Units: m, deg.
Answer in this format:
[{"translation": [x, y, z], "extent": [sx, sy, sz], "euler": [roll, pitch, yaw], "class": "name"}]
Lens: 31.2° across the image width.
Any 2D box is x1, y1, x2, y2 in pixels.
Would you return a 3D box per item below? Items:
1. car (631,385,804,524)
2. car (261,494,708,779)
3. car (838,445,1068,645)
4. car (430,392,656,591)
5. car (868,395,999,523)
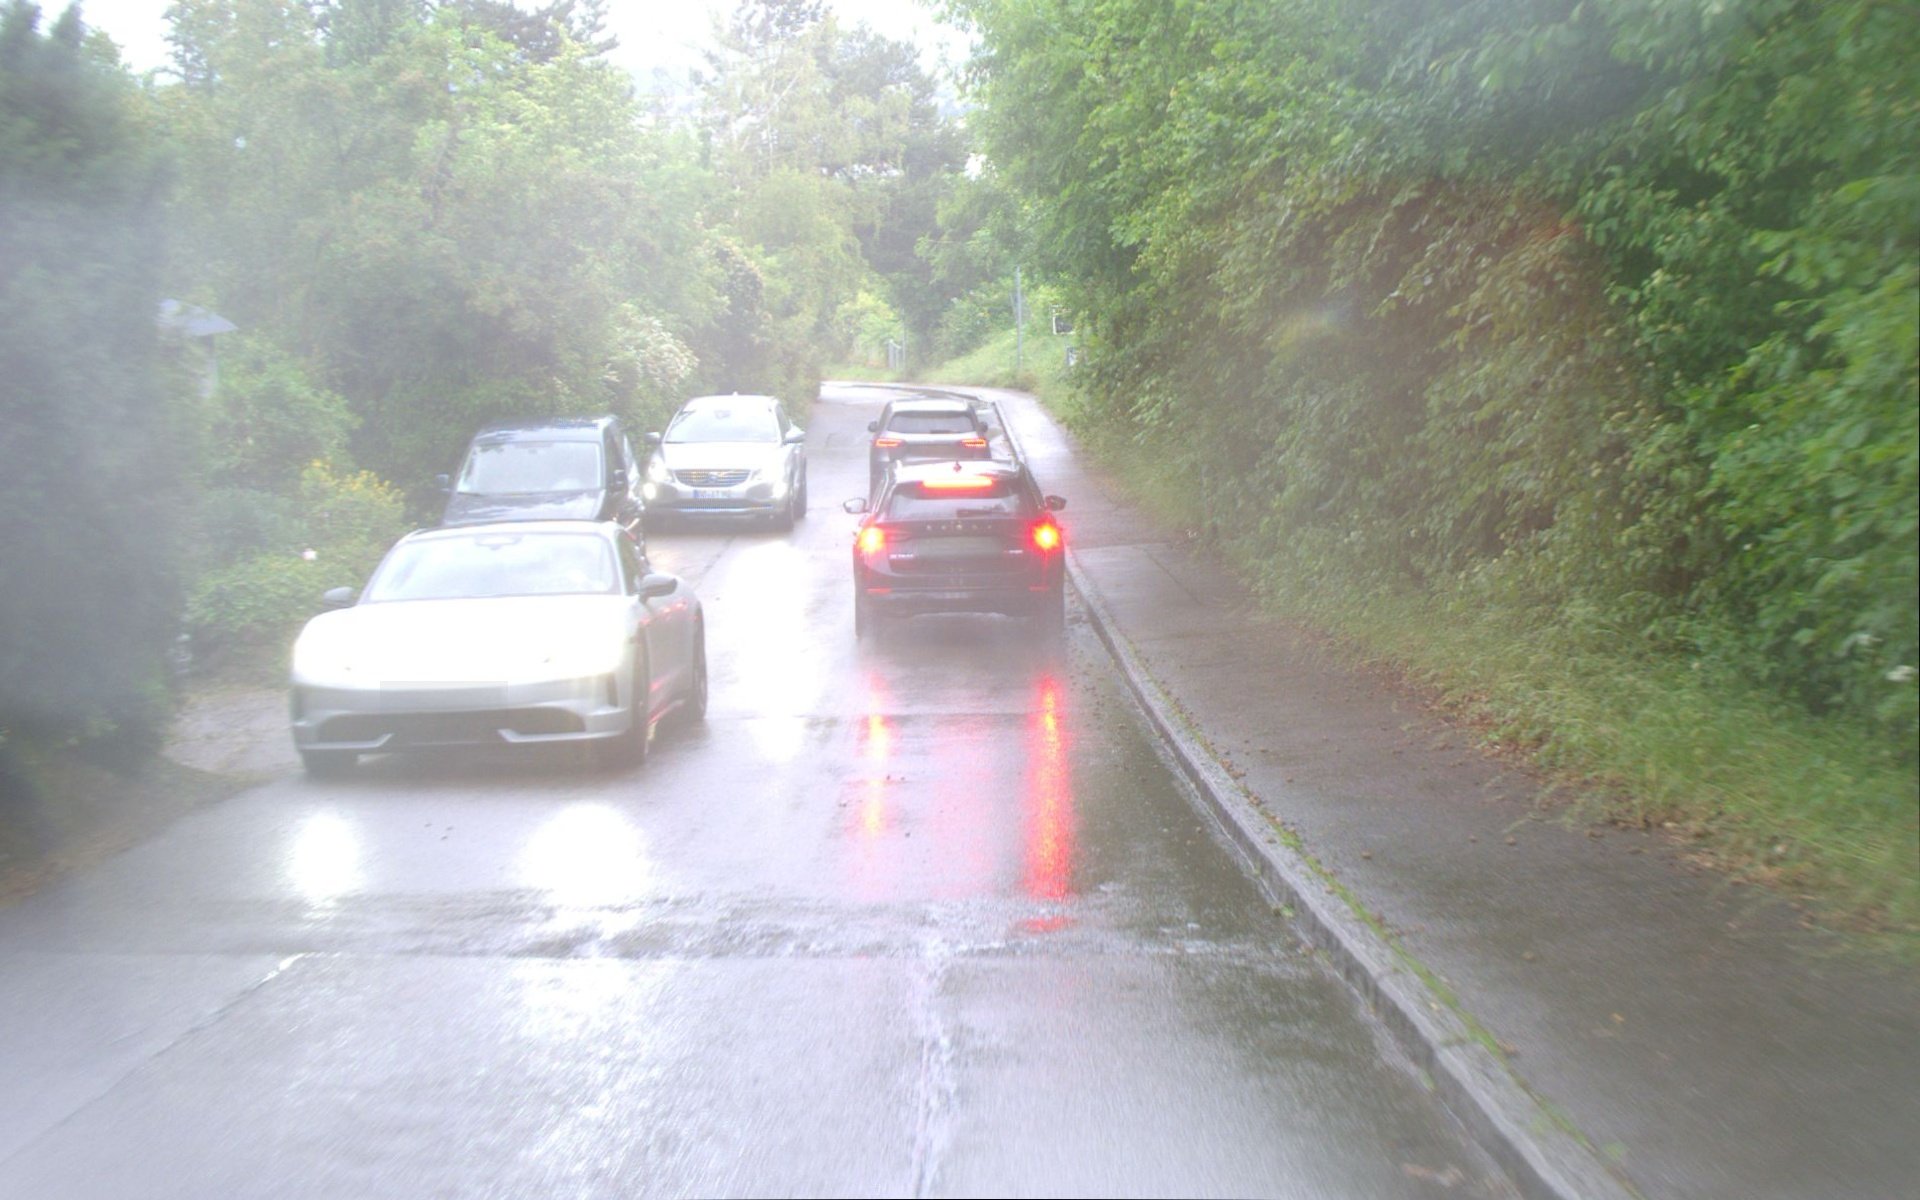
[{"translation": [-3.132, -1.945, 45.090], "extent": [2.048, 1.595, 4.231], "euler": [0, 5, -1], "class": "car"}, {"translation": [-2.743, 0.197, 20.898], "extent": [1.941, 1.517, 4.579], "euler": [-1, 0, 2], "class": "car"}, {"translation": [-0.124, -0.533, 29.665], "extent": [1.699, 1.445, 4.002], "euler": [-2, 4, -3], "class": "car"}, {"translation": [-4.187, -1.167, 35.084], "extent": [1.689, 1.776, 4.233], "euler": [-2, 5, 1], "class": "car"}, {"translation": [-0.424, -2.071, 51.492], "extent": [1.863, 1.737, 4.000], "euler": [-1, 0, -1], "class": "car"}]
